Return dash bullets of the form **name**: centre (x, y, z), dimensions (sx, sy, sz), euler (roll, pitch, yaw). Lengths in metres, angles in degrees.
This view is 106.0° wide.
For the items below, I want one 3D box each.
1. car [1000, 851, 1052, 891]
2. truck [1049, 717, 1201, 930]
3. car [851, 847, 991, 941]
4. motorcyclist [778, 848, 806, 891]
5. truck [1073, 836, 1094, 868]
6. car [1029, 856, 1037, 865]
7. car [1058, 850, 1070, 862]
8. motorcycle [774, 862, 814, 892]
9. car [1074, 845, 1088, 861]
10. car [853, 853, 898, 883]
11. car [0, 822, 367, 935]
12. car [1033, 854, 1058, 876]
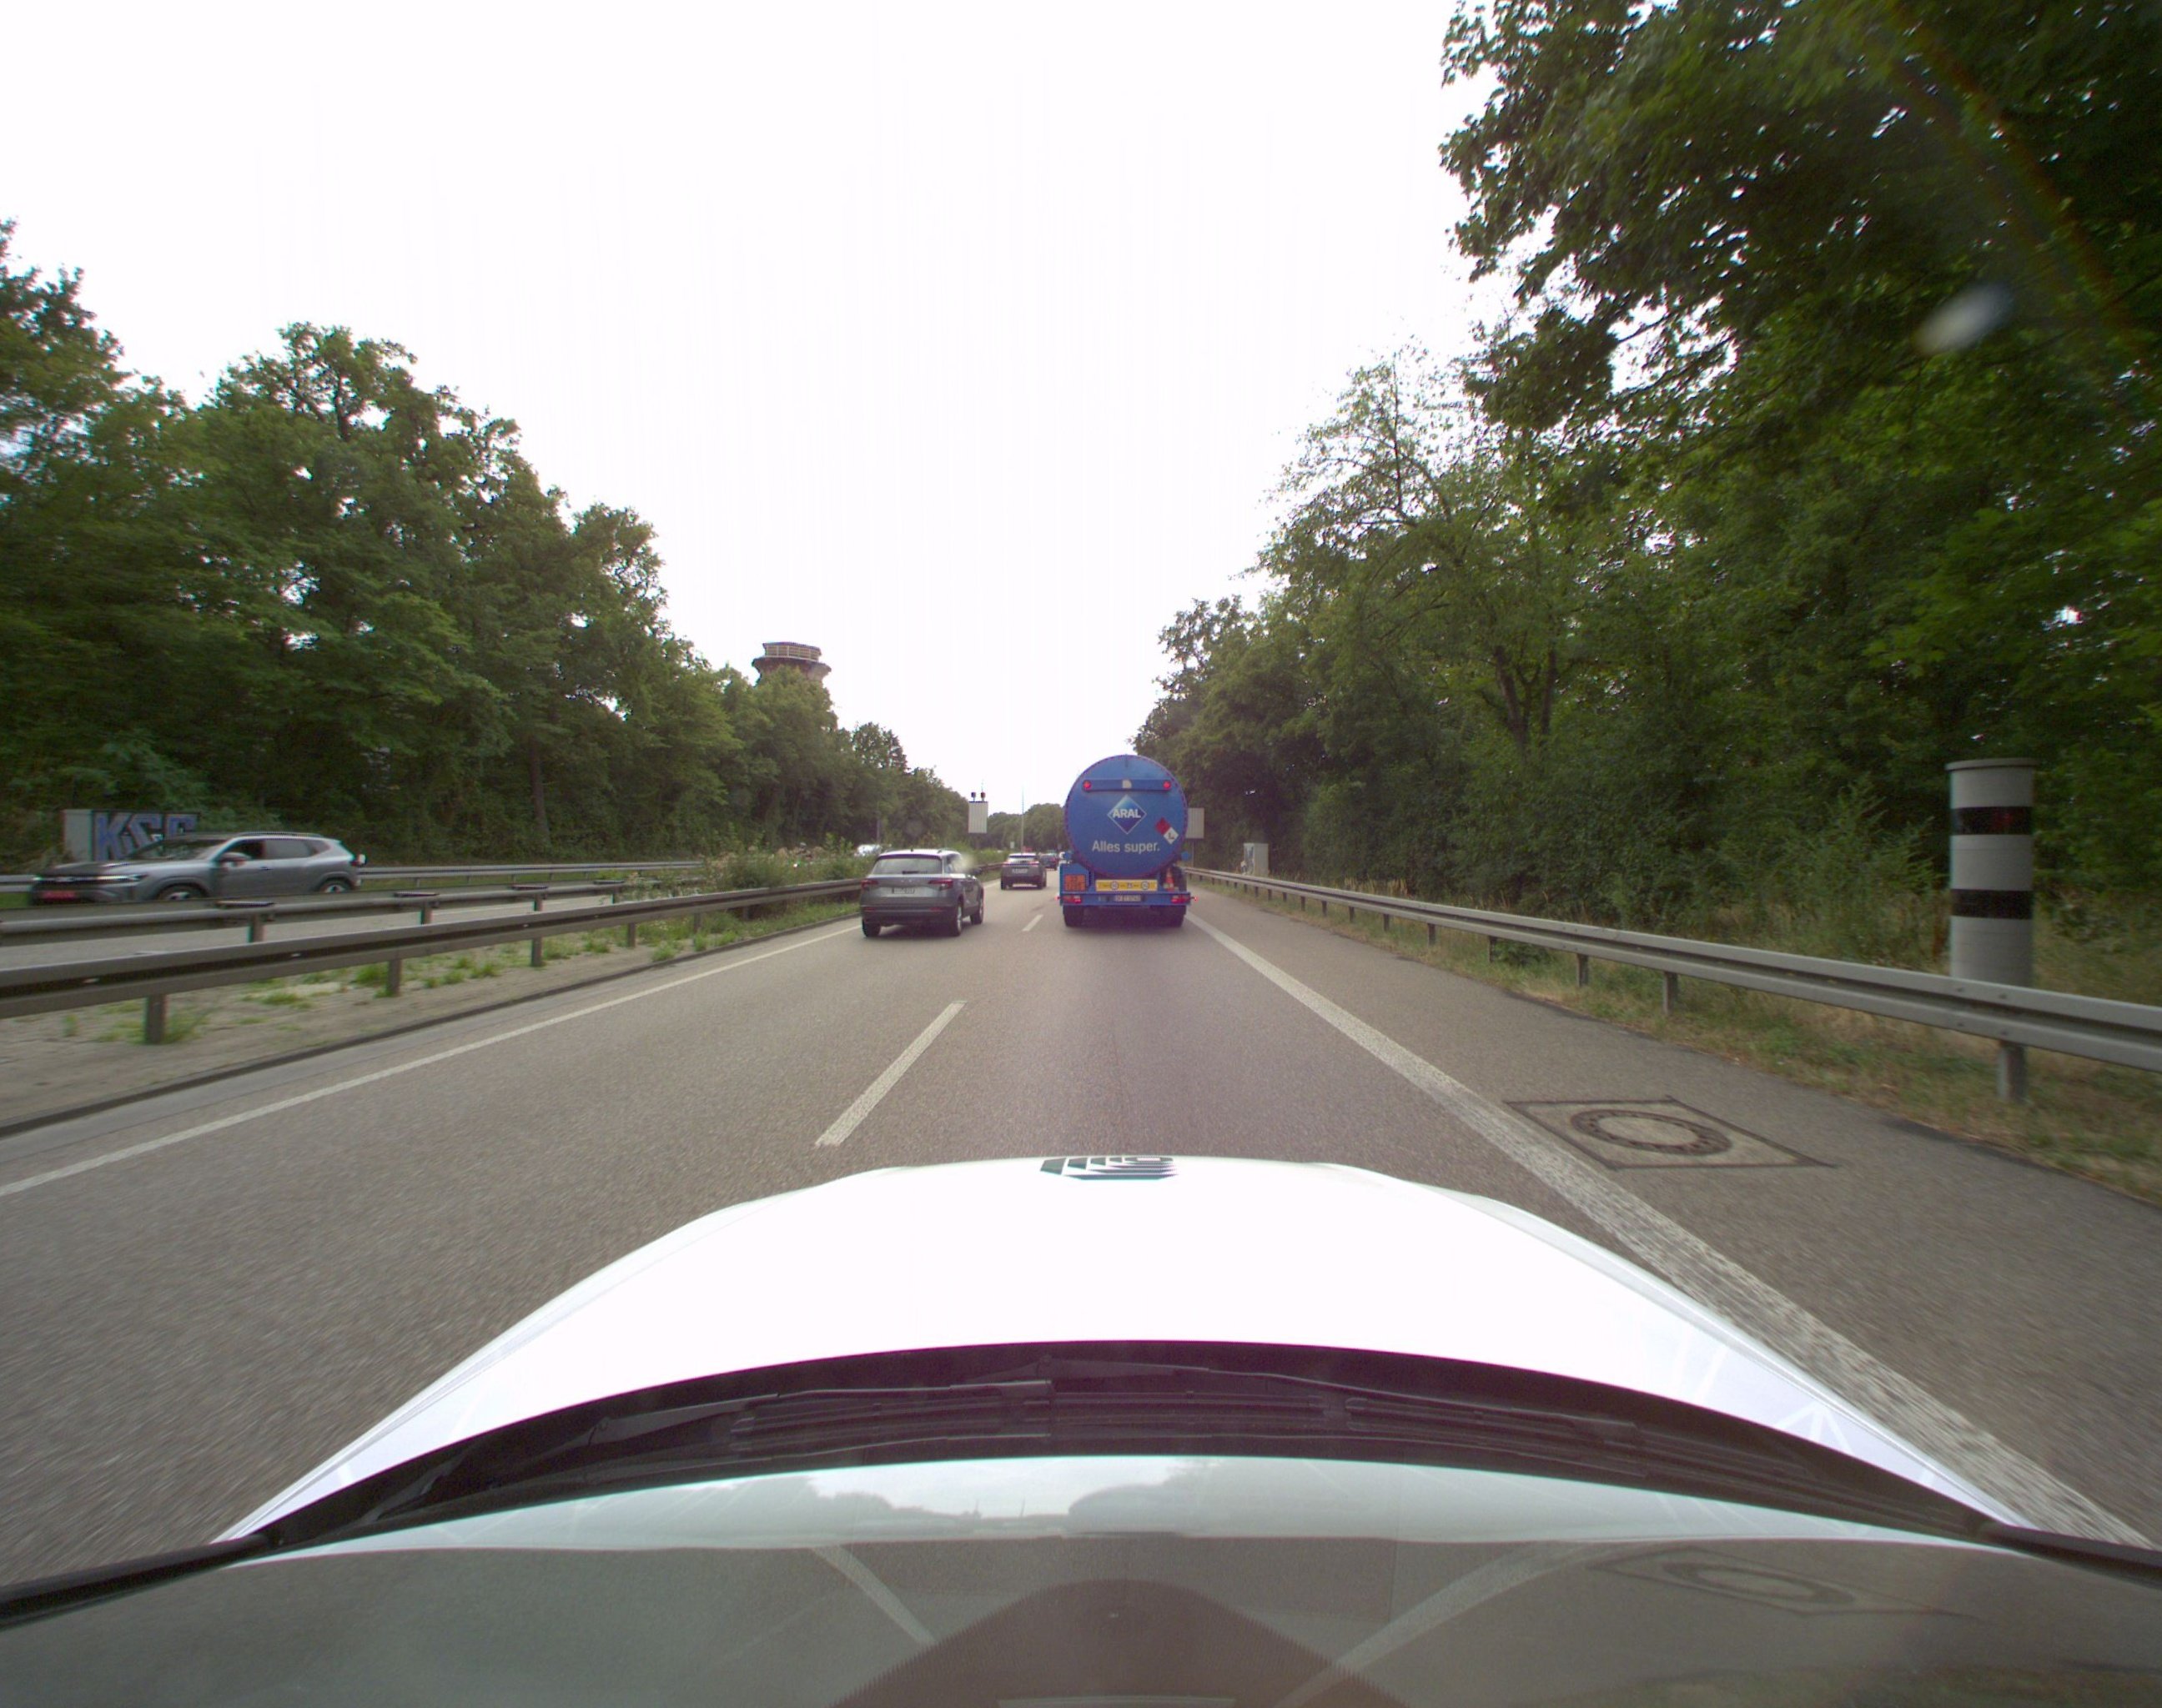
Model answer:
- **car**: centre (-2.346, 0.722, 35.697), dimensions (1.819, 1.609, 4.169), euler (0, -1, 2)
- **truck**: centre (0.920, -0.518, 18.646), dimensions (2.745, 3.847, 7.691), euler (0, -1, 2)
- **car**: centre (-2.993, 0.713, 16.143), dimensions (1.819, 1.609, 4.169), euler (0, -1, 2)
- **motorcyclist**: centre (-10.753, 0.571, 30.308), dimensions (0.678, 1.549, 0.846), euler (1, -1, 1)
- **truck**: centre (0.308, -0.166, 83.516), dimensions (1.986, 3.093, 7.817), euler (0, -1, 1)
- **car**: centre (-12.376, 1.686, 209.393), dimensions (1.990, 2.244, 3.992), euler (0, -1, -5)
- **car**: centre (-3.161, 0.426, 150.320), dimensions (1.986, 2.244, 4.001), euler (0, -1, 2)
- **motorcycle**: centre (-10.763, 0.842, 30.644), dimensions (0.699, 1.067, 2.197), euler (0, -1, 1)
- **car**: centre (-0.004, -0.082, 117.113), dimensions (1.986, 2.244, 4.001), euler (0, -1, 1)
- **car**: centre (-14.559, 0.955, 58.083), dimensions (1.790, 2.014, 5.302), euler (0, -1, 1)
- **car**: centre (-15.602, 0.389, 14.315), dimensions (1.887, 1.652, 4.641), euler (0, -1, 2)
- **car**: centre (-3.215, 0.996, 74.382), dimensions (1.986, 2.014, 4.001), euler (0, -1, 2)
